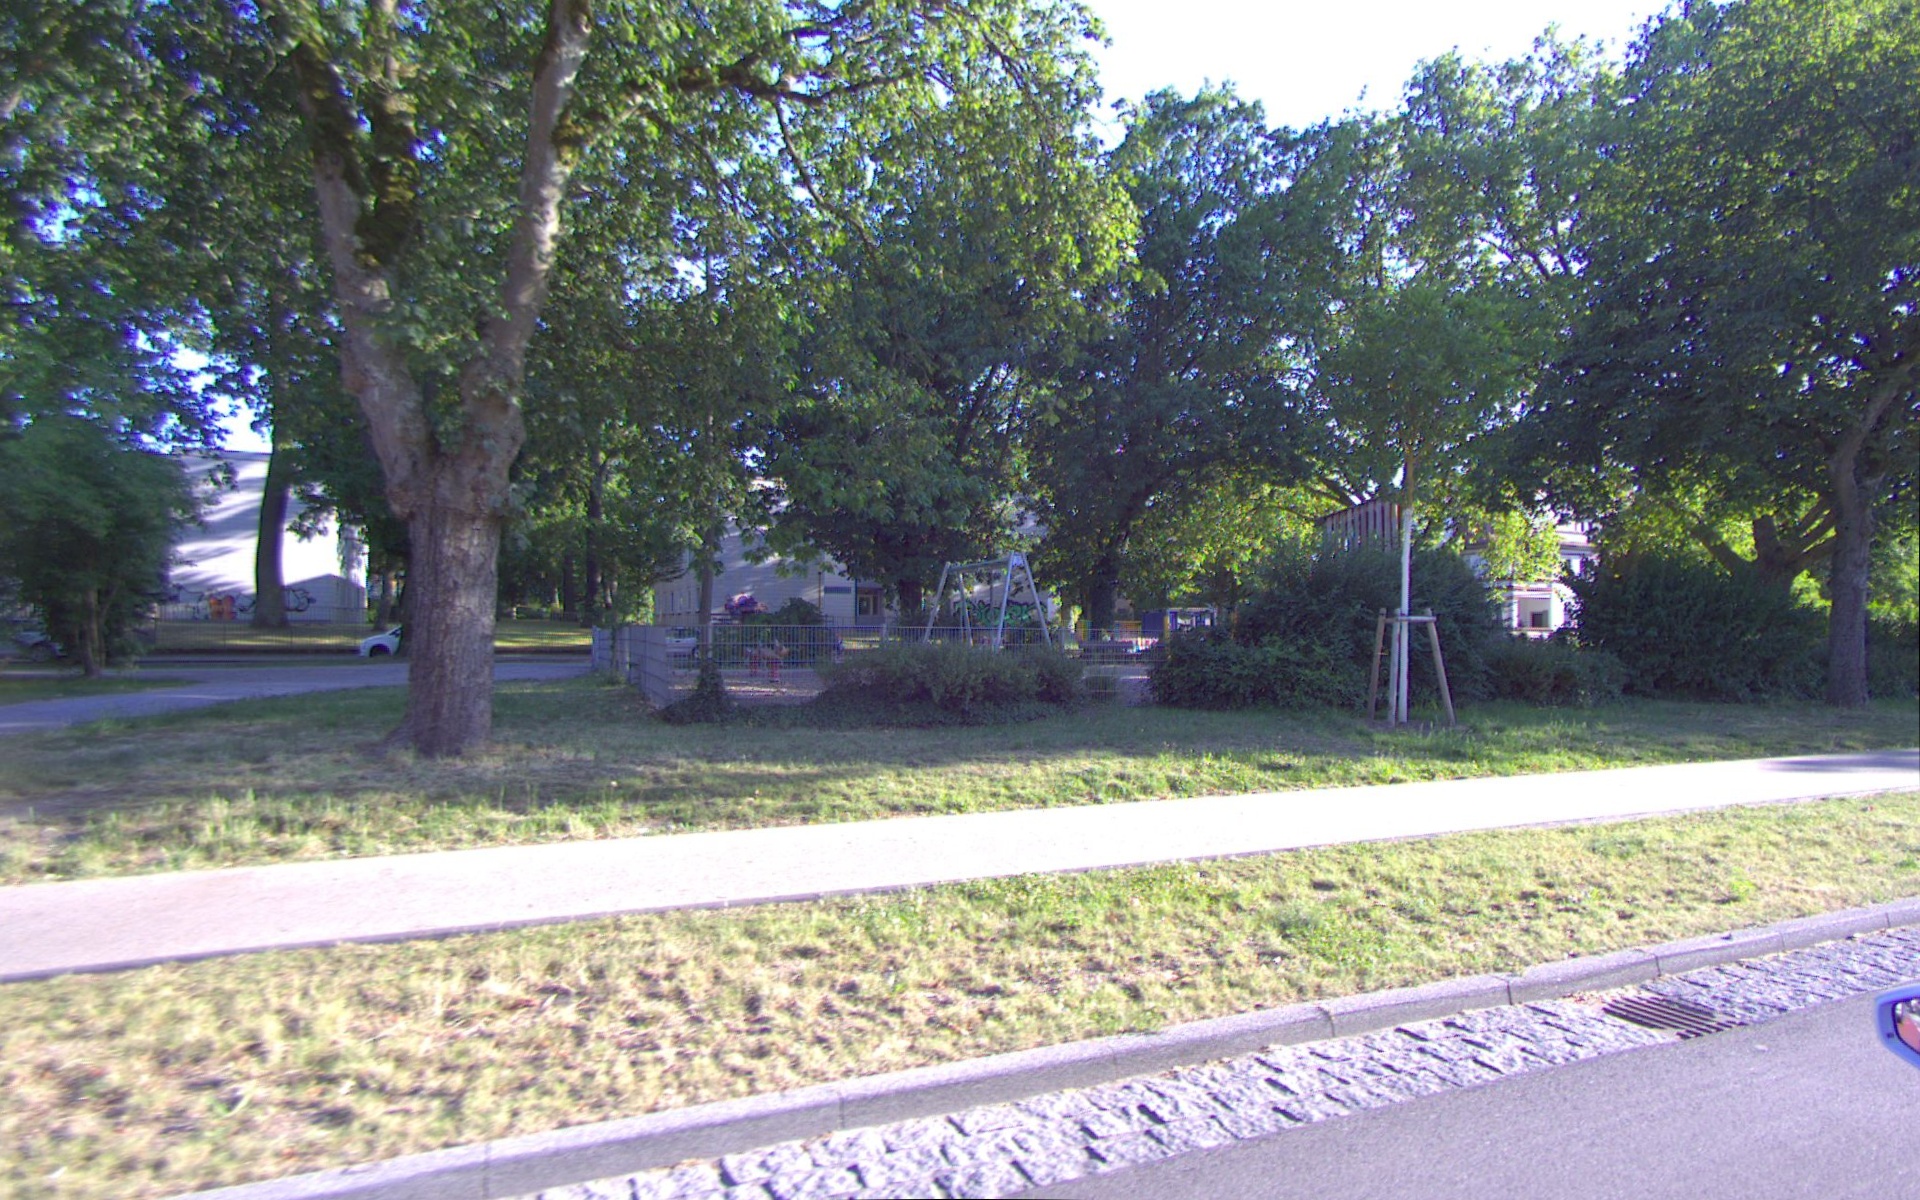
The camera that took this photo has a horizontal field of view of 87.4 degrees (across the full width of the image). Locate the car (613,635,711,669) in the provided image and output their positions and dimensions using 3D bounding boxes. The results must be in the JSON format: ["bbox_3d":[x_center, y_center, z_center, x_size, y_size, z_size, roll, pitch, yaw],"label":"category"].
[{"bbox_3d":[-12.164,2.123,41.013,3.698,1.309,1.519,1,-1,-22],"label":"car"}]

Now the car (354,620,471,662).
[{"bbox_3d":[-20.202,1.517,37.226,3.609,1.483,1.597,1,-1,-22],"label":"car"}]

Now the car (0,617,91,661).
[{"bbox_3d":[-30.914,1.259,32.395,4.051,1.386,1.518,1,-1,-24],"label":"car"}]

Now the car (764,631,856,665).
[{"bbox_3d":[-6.489,2.048,43.423,3.698,1.386,1.519,1,-1,-22],"label":"car"}]

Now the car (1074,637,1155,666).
[{"bbox_3d":[7.529,2.496,48.980,3.698,1.386,1.519,1,-1,-22],"label":"car"}]

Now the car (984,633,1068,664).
[{"bbox_3d":[3.125,2.271,47.360,3.698,1.386,1.519,1,-1,-22],"label":"car"}]
